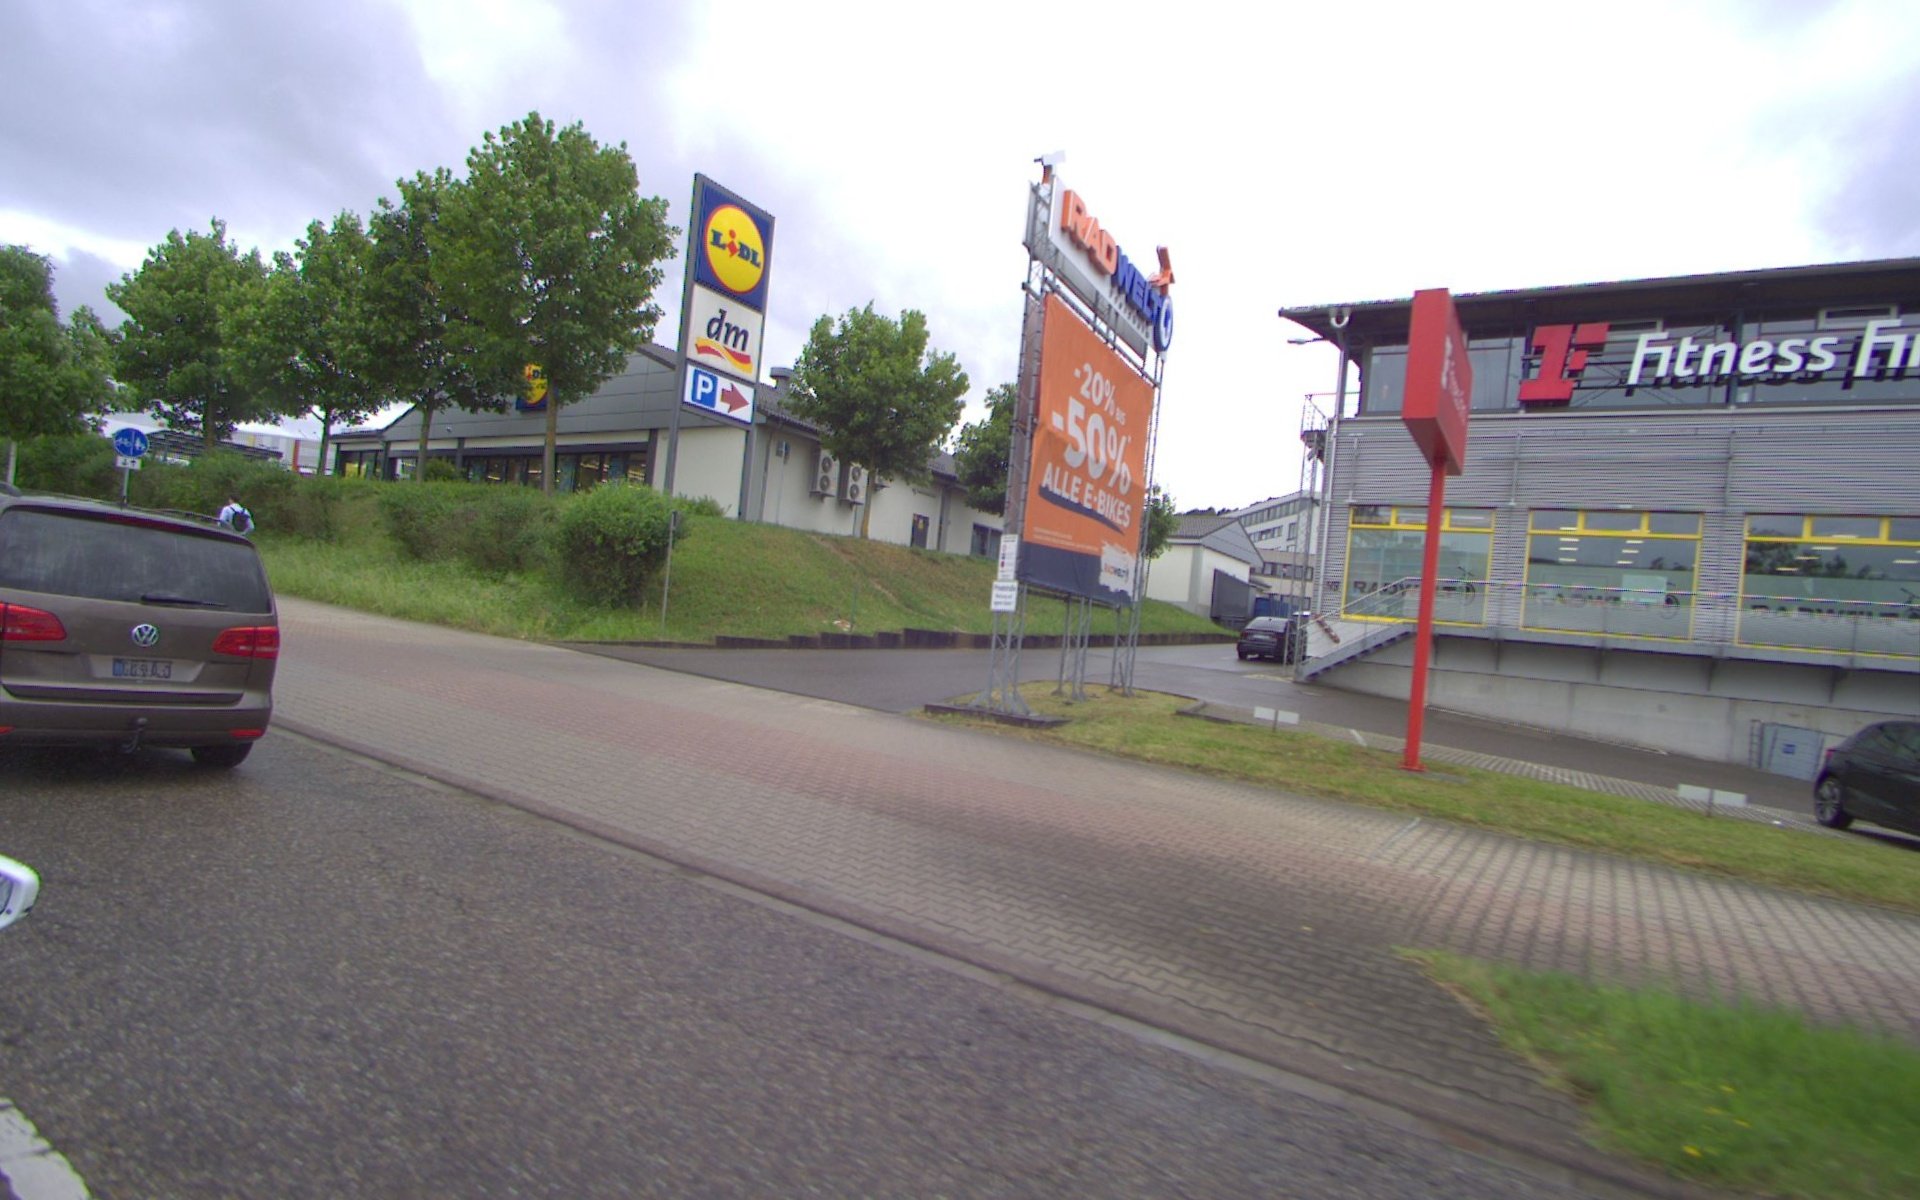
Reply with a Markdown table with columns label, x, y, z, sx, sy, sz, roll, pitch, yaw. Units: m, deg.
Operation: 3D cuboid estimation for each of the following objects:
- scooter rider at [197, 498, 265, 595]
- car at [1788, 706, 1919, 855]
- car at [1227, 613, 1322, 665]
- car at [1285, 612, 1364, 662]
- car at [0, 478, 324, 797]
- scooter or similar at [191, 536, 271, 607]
| label | x | y | z | sx | sy | sz | roll | pitch | yaw |
| --- | --- | --- | --- | --- | --- | --- | --- | --- | --- |
| scooter rider | -14.598 | -1.066 | 20.146 | 0.843 | 1.843 | 0.695 | 6 | 1 | 29 |
| car | 11.112 | 2.099 | 10.878 | 1.763 | 1.455 | 4.107 | 9 | -1 | 18 |
| car | 10.620 | 1.290 | 33.812 | 1.773 | 1.530 | 3.982 | 6 | 2 | 36 |
| car | 14.093 | 1.419 | 38.778 | 1.772 | 1.676 | 3.983 | 5 | 2 | 35 |
| car | -6.294 | 0.060 | 6.646 | 4.148 | 1.598 | 1.690 | 7 | -3 | 31 |
| scooter or similar | -14.587 | -0.568 | 20.126 | 1.377 | 1.280 | 0.696 | 6 | 1 | 29 |
